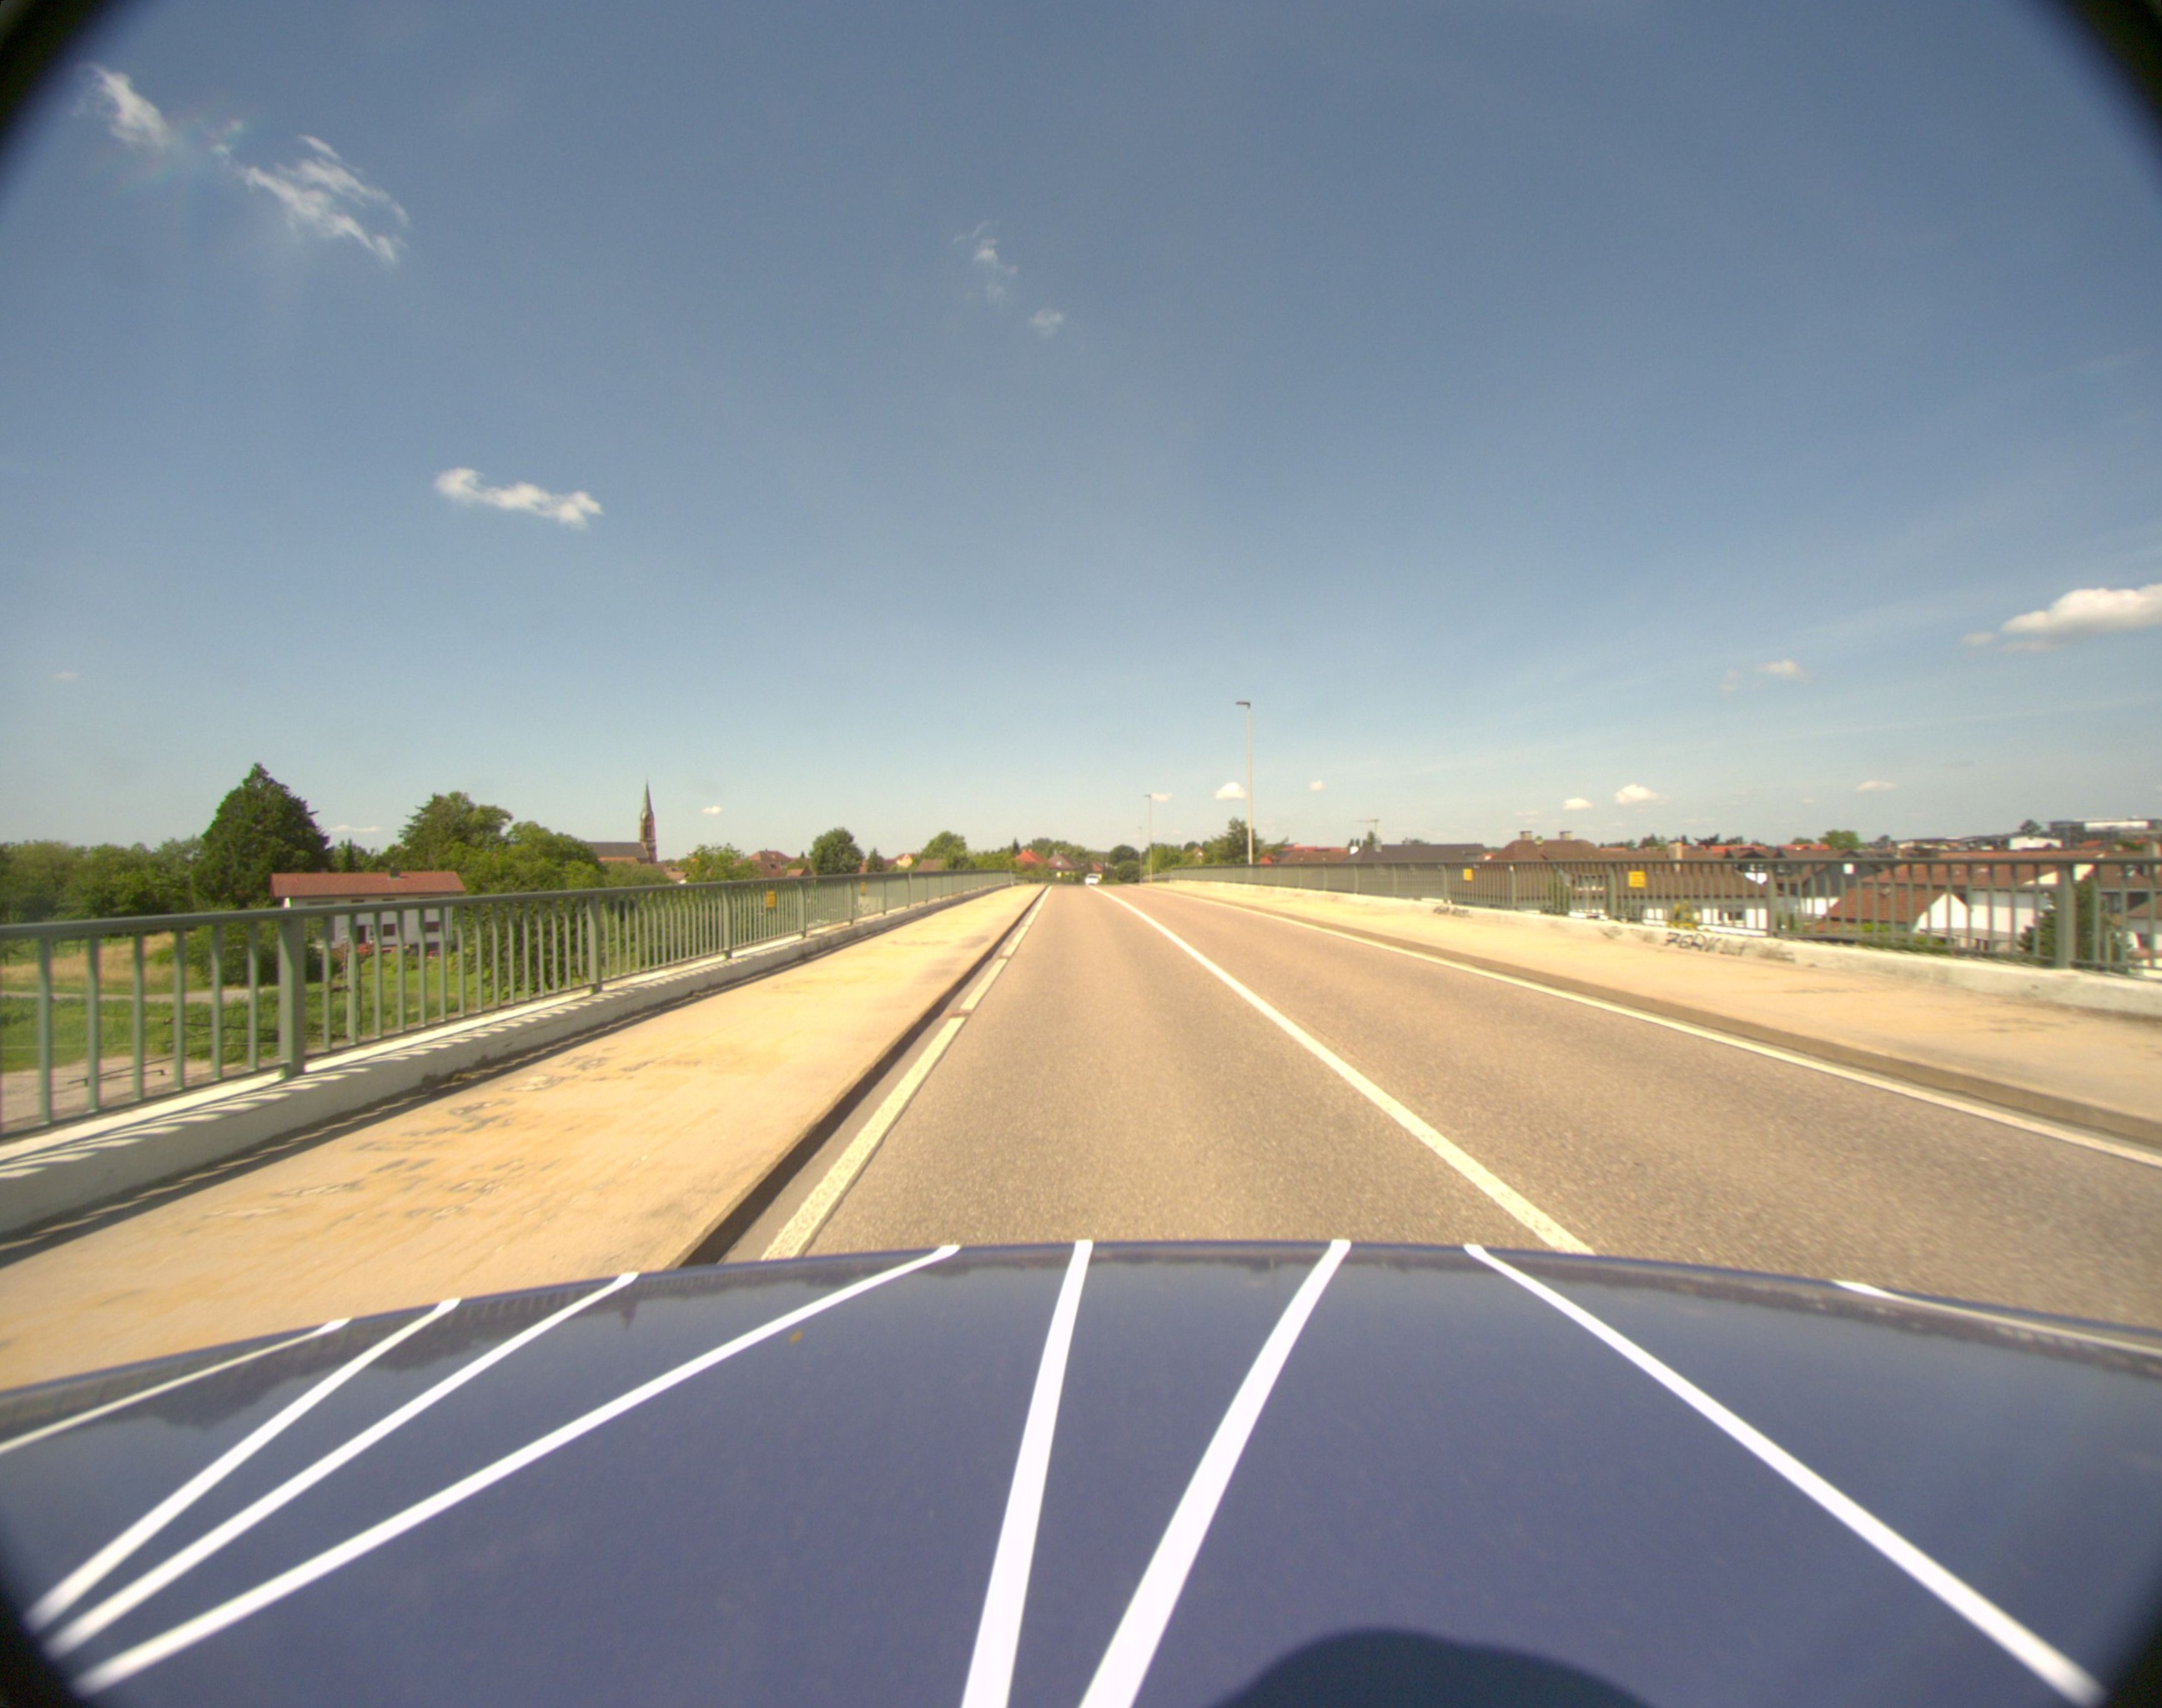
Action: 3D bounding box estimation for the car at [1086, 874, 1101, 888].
[{"bbox_3d":[1.820,3.866,110.669,2.092,1.751,4.282,-2,1,1],"label":"car"}]
